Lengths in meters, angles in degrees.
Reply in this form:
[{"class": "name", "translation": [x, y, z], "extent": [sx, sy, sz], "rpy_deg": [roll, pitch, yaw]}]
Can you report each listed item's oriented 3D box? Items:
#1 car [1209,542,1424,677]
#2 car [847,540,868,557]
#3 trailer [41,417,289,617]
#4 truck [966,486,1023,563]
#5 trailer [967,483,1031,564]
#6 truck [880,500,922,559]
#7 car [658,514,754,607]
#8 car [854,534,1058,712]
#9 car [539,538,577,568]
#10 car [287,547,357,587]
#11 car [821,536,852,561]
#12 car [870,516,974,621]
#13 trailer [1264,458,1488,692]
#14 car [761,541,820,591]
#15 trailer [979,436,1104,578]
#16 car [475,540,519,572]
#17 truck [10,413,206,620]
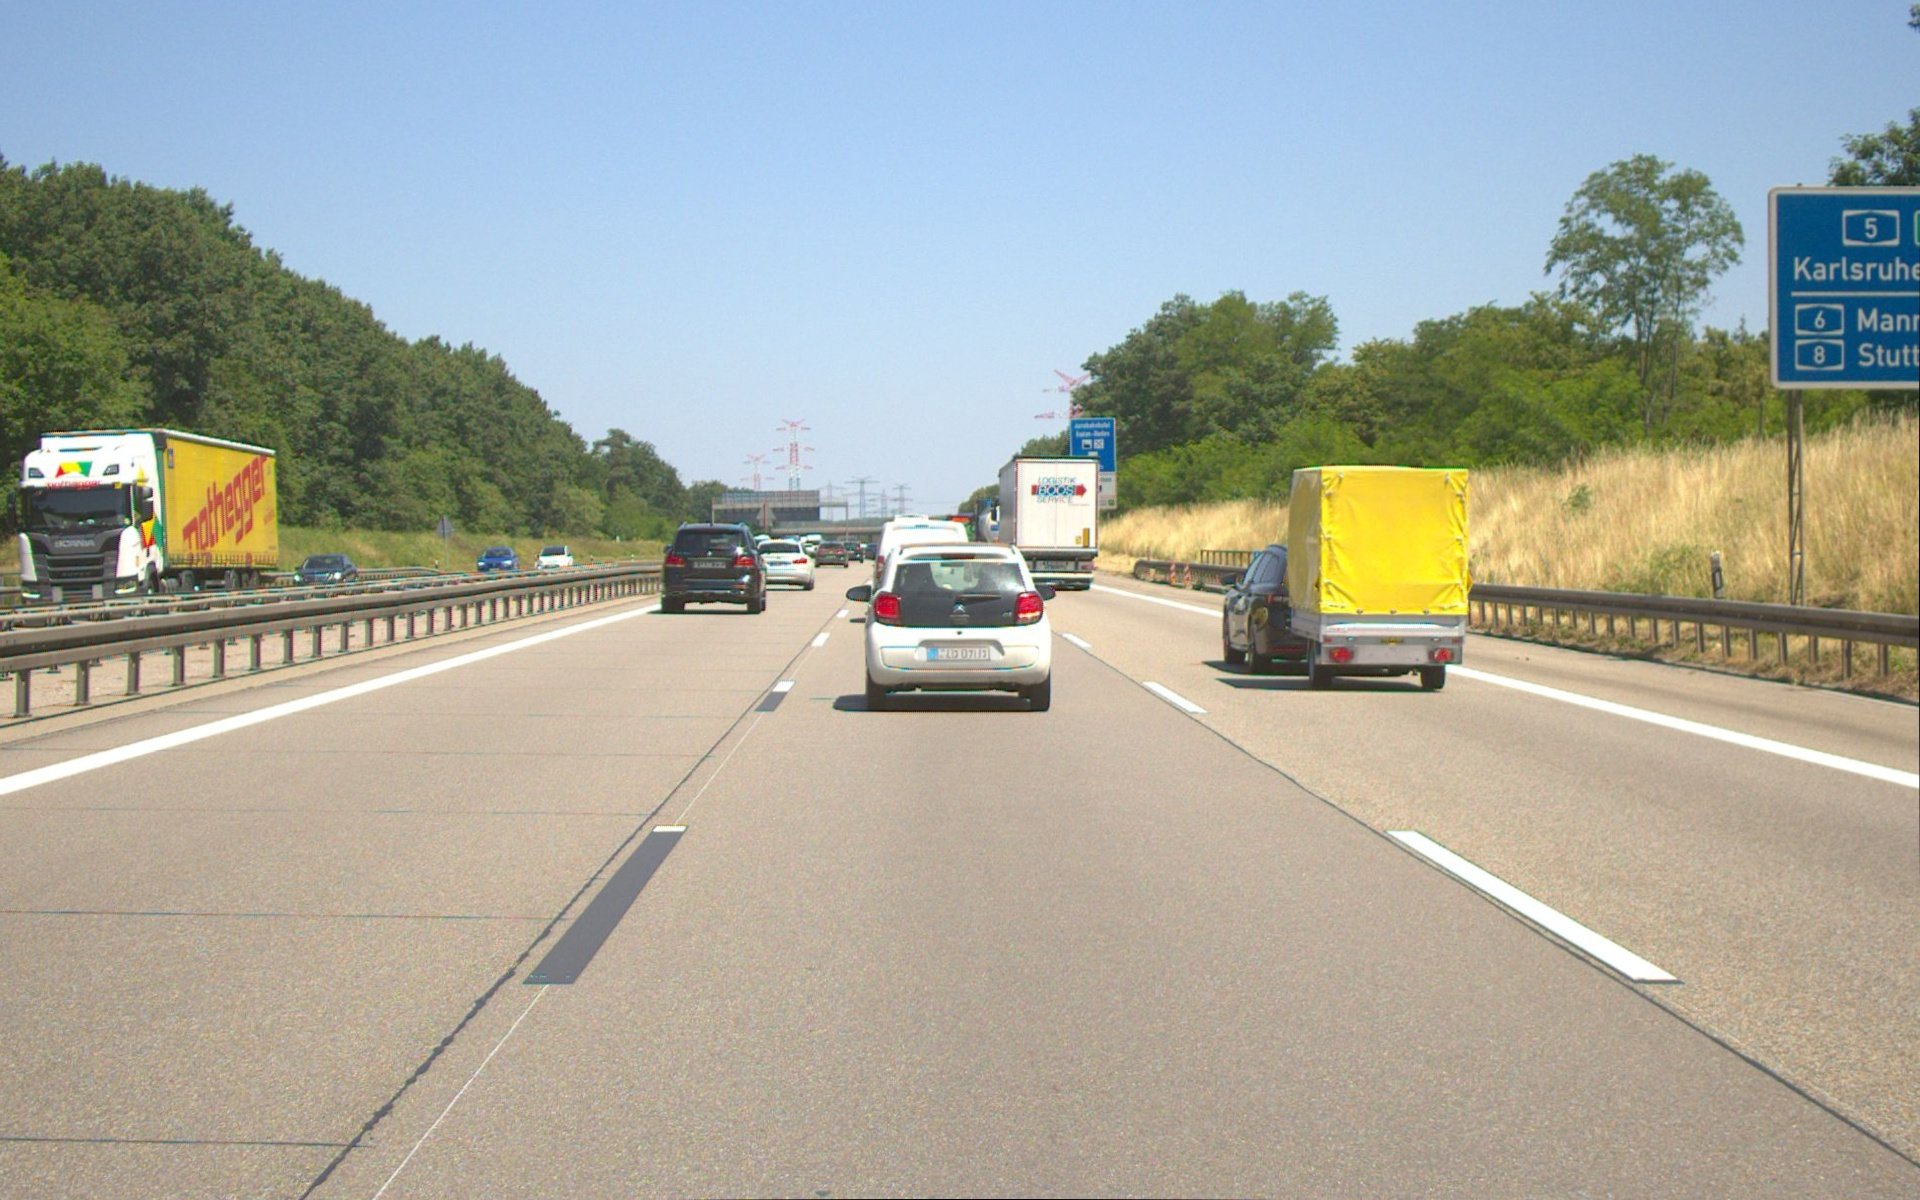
[{"class": "car", "translation": [4.084, 0.063, 40.085], "extent": [1.821, 1.451, 4.789], "rpy_deg": [1, 1, -2]}, {"class": "car", "translation": [-7.028, -3.543, 235.892], "extent": [1.405, 1.128, 3.358], "rpy_deg": [1, 1, -1]}, {"class": "trailer", "translation": [-18.023, -1.890, 79.081], "extent": [2.464, 4.058, 14.280], "rpy_deg": [-3, 1, -1]}, {"class": "truck", "translation": [1.737, -3.814, 175.485], "extent": [2.682, 3.824, 4.444], "rpy_deg": [1, 1, -1]}, {"class": "trailer", "translation": [1.865, -3.744, 170.785], "extent": [2.682, 3.824, 12.011], "rpy_deg": [1, 1, -1]}, {"class": "truck", "translation": [-2.967, -3.526, 172.508], "extent": [2.060, 2.904, 7.004], "rpy_deg": [0, 1, -1]}, {"class": "car", "translation": [-4.953, -0.793, 67.387], "extent": [1.626, 1.749, 3.805], "rpy_deg": [1, 1, -1]}, {"class": "car", "translation": [-0.067, 0.162, 31.172], "extent": [1.708, 1.490, 4.024], "rpy_deg": [1, 1, -1]}, {"class": "car", "translation": [-24.095, -2.842, 206.010], "extent": [1.702, 1.655, 5.117], "rpy_deg": [-3, 1, -1]}, {"class": "car", "translation": [-23.440, -1.229, 126.430], "extent": [1.675, 1.361, 4.890], "rpy_deg": [-3, 1, -1]}, {"class": "car", "translation": [-6.684, -2.797, 186.930], "extent": [1.607, 1.296, 3.674], "rpy_deg": [1, 1, -1]}, {"class": "car", "translation": [-0.725, -0.585, 62.483], "extent": [1.814, 1.821, 5.111], "rpy_deg": [0, 1, -1]}, {"class": "trailer", "translation": [4.261, -0.280, 35.766], "extent": [1.703, 2.282, 3.840], "rpy_deg": [1, 1, -2]}, {"class": "car", "translation": [-4.930, -0.995, 100.393], "extent": [1.669, 1.396, 3.713], "rpy_deg": [0, 1, -2]}, {"class": "trailer", "translation": [2.482, -2.877, 110.207], "extent": [3.285, 4.205, 13.566], "rpy_deg": [1, 1, -1]}, {"class": "car", "translation": [-23.888, -2.287, 177.521], "extent": [1.702, 1.540, 4.536], "rpy_deg": [-3, 1, -1]}, {"class": "truck", "translation": [-17.898, -1.746, 72.585], "extent": [2.464, 4.058, 6.288], "rpy_deg": [-3, 1, -1]}]
